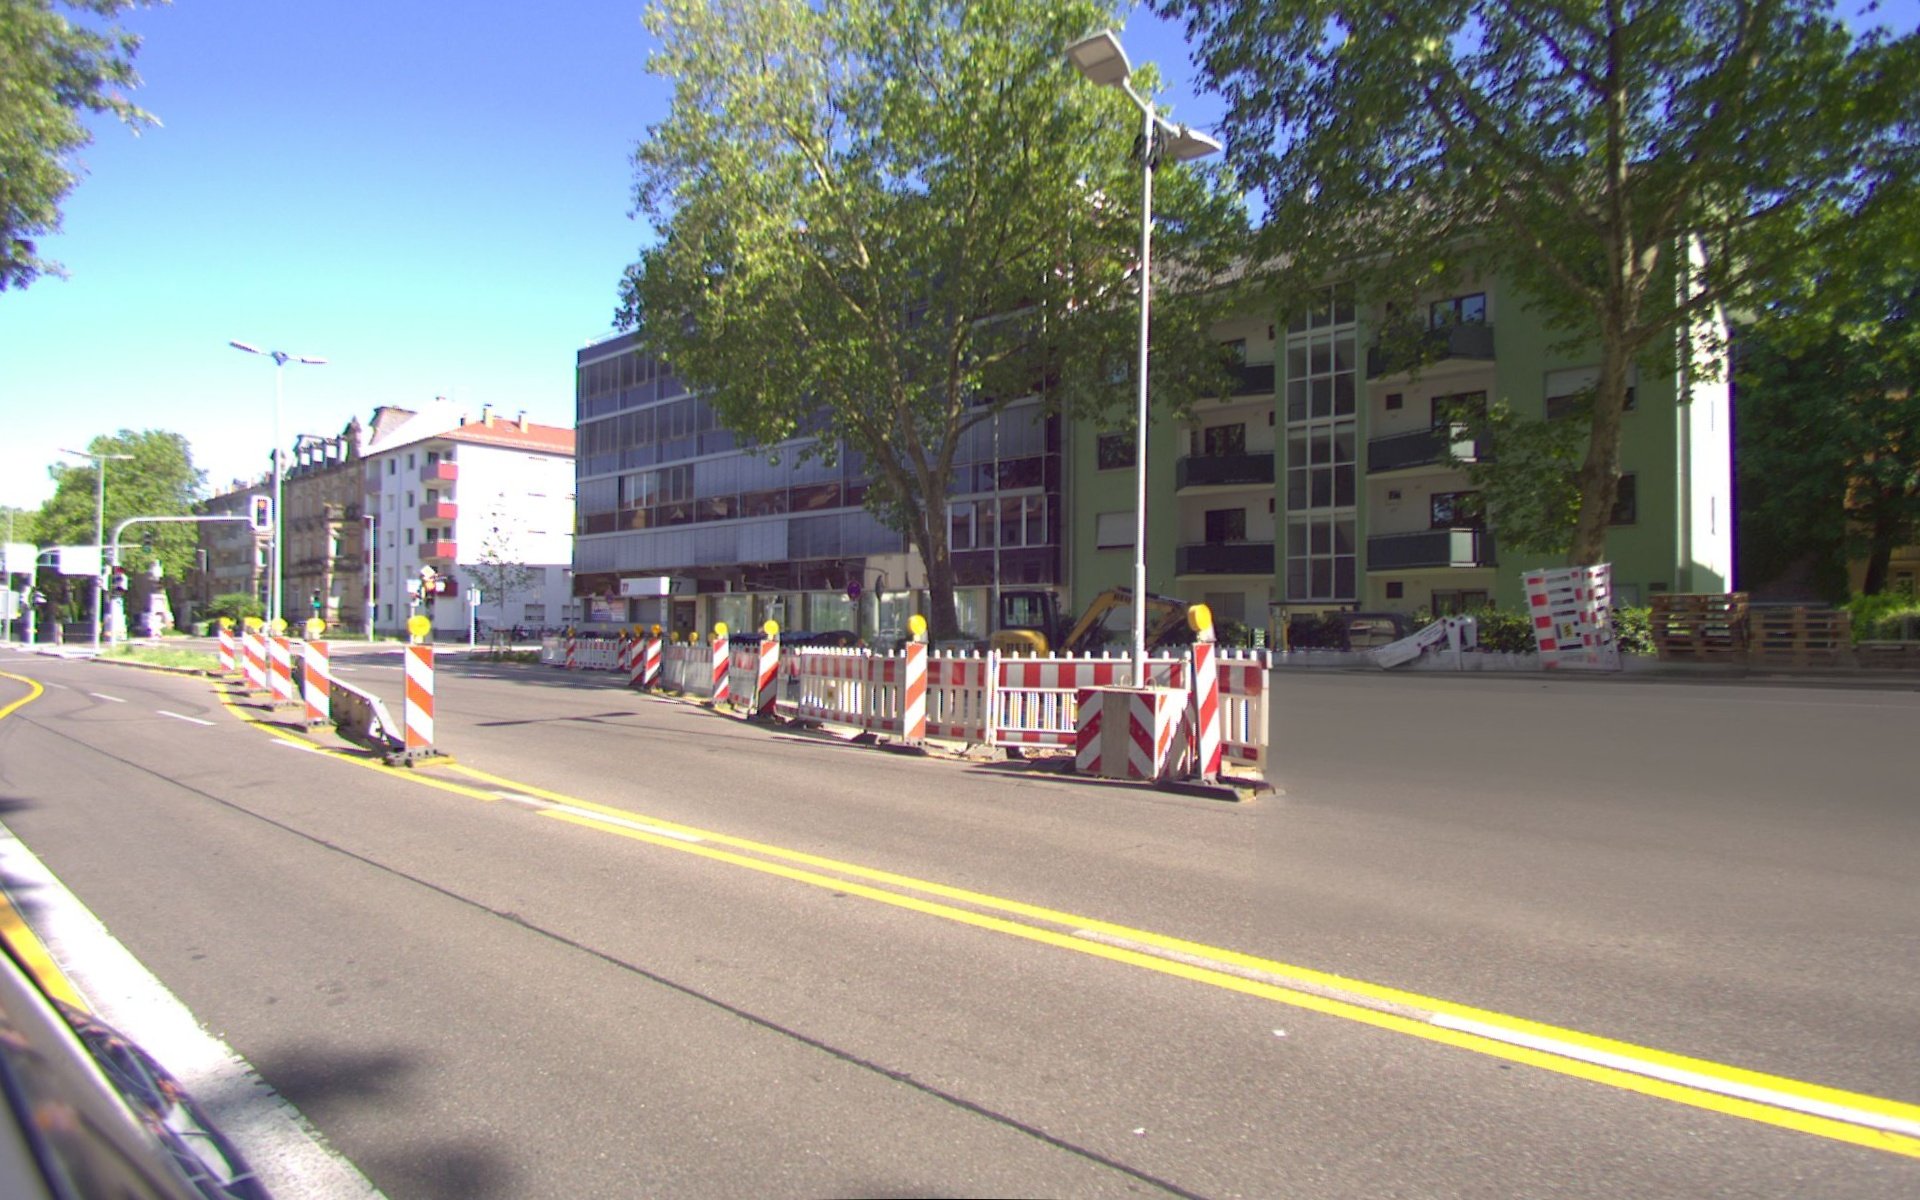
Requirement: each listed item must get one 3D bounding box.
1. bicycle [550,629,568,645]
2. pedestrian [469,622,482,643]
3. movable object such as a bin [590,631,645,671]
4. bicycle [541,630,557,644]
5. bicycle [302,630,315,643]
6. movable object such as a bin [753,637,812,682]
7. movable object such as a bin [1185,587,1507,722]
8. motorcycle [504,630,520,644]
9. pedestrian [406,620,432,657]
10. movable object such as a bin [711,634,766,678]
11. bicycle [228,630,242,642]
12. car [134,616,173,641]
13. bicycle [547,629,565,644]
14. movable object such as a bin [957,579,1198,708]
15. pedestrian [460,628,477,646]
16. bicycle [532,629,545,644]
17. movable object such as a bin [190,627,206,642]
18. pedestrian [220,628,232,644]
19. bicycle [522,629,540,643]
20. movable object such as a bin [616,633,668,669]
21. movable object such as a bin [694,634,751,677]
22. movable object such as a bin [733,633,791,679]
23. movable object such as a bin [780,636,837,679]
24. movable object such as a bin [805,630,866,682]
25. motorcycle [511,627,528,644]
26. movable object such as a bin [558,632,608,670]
[{"bbox_3d":[-28.175,2.580,71.018,1.736,1.077,0.483,-2,-2,43],"label":"bicycle"},{"bbox_3d":[-33.948,2.277,70.869,0.695,1.508,0.593,-2,-2,44],"label":"pedestrian"},{"bbox_3d":[-12.693,1.863,37.486,1.855,1.399,1.201,-1,-2,43],"label":"movable object such as a bin"},{"bbox_3d":[-28.431,2.576,70.033,0.471,0.955,1.954,1,-2,-40],"label":"bicycle"},{"bbox_3d":[-50.415,2.809,78.334,1.939,0.965,0.301,-2,-2,41],"label":"bicycle"},{"bbox_3d":[-5.284,1.738,30.110,1.539,1.280,0.969,-1,-2,41],"label":"movable object such as a bin"},{"bbox_3d":[7.401,0.992,19.900,5.599,2.296,1.971,-1,-3,44],"label":"movable object such as a bin"},{"bbox_3d":[-30.554,2.545,68.992,0.497,0.943,1.844,1,-2,-42],"label":"motorcycle"},{"bbox_3d":[-25.683,1.840,48.036,0.854,1.724,1.013,1,-3,-42],"label":"pedestrian"},{"bbox_3d":[-6.951,1.735,31.753,0.936,1.348,1.395,-1,-2,43],"label":"movable object such as a bin"},{"bbox_3d":[-65.277,3.252,91.071,2.248,1.013,0.462,-2,-1,39],"label":"bicycle"},{"bbox_3d":[-83.676,2.976,104.939,5.285,2.465,2.221,-3,-5,42],"label":"car"},{"bbox_3d":[-29.456,2.658,73.782,0.567,1.066,1.691,1,-2,-44],"label":"bicycle"},{"bbox_3d":[2.677,0.981,23.884,5.347,2.727,2.126,-1,-2,38],"label":"movable object such as a bin"},{"bbox_3d":[-32.469,2.417,66.831,0.785,1.162,0.712,-1,-2,29],"label":"pedestrian"},{"bbox_3d":[-29.099,2.516,69.880,0.500,0.985,1.890,1,-2,-33],"label":"bicycle"},{"bbox_3d":[-73.017,3.301,97.003,1.473,1.371,0.883,-3,-5,42],"label":"movable object such as a bin"},{"bbox_3d":[-65.593,3.227,90.419,1.089,1.388,0.560,1,-2,39],"label":"pedestrian"},{"bbox_3d":[-30.669,2.582,72.381,0.567,0.976,1.738,1,-2,-44],"label":"bicycle"},{"bbox_3d":[-11.409,1.812,36.314,1.241,1.212,1.379,-1,-2,44],"label":"movable object such as a bin"},{"bbox_3d":[-7.646,1.768,32.611,1.157,1.348,1.395,-1,-2,43],"label":"movable object such as a bin"},{"bbox_3d":[-6.100,1.702,31.159,1.068,1.348,1.395,-1,-2,42],"label":"movable object such as a bin"},{"bbox_3d":[-4.628,1.734,30.873,1.539,1.280,0.969,-1,-2,41],"label":"movable object such as a bin"},{"bbox_3d":[-3.581,1.602,29.303,1.251,1.433,1.627,-1,-1,15],"label":"movable object such as a bin"},{"bbox_3d":[-30.730,2.468,70.580,0.603,1.150,1.786,1,-2,-40],"label":"motorcycle"},{"bbox_3d":[-14.512,1.935,38.949,1.855,1.399,1.102,-1,-2,43],"label":"movable object such as a bin"}]
